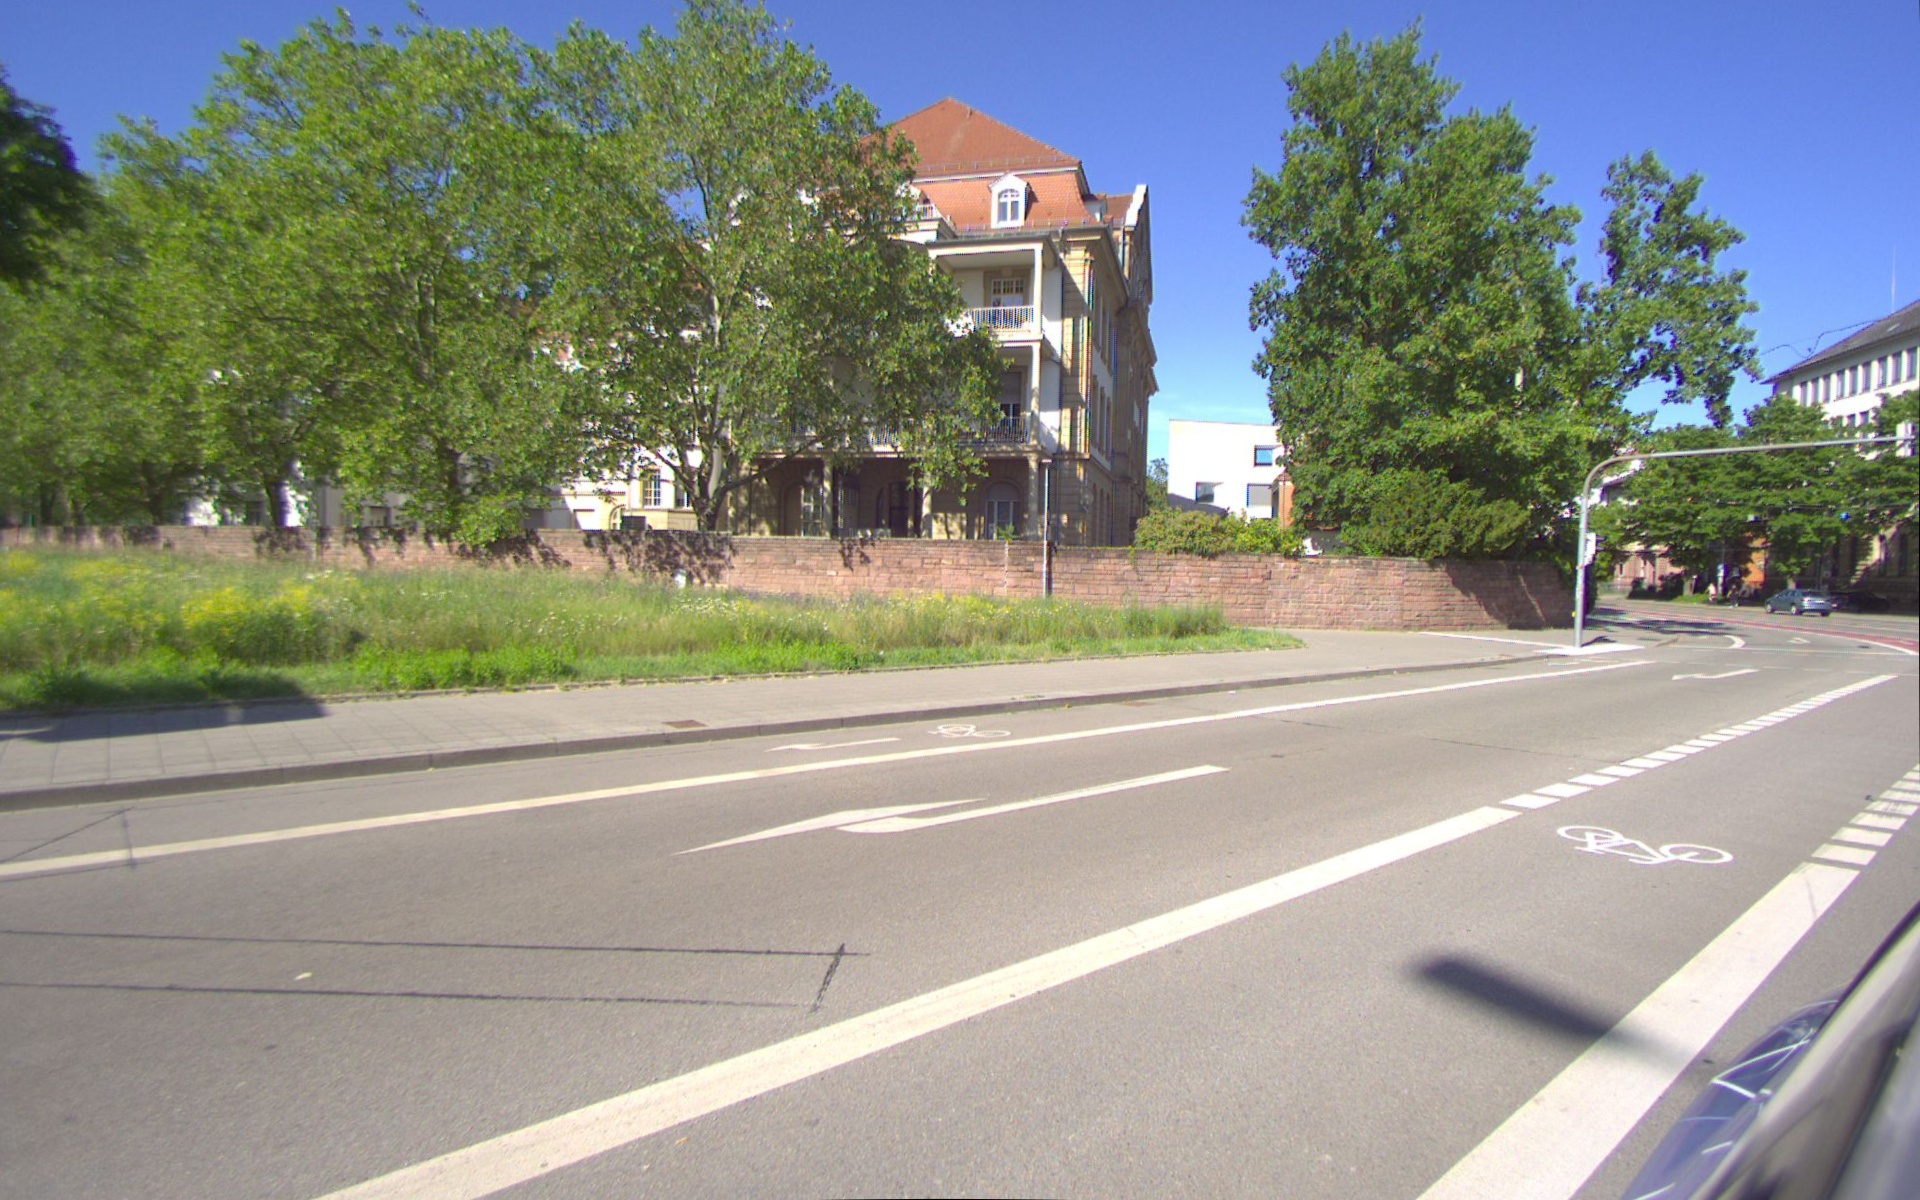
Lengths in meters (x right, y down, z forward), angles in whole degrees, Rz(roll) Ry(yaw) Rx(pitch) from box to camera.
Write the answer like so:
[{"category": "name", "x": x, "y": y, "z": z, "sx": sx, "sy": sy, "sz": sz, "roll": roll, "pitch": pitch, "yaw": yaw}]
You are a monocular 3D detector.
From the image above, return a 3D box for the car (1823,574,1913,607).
[{"category": "car", "x": 61.210, "y": -0.645, "z": 68.249, "sx": 4.615, "sy": 2.038, "sz": 2.004, "roll": 1, "pitch": 2, "yaw": -9}]

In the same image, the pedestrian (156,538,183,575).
[{"category": "pedestrian", "x": -31.883, "y": -1.757, "z": 40.814, "sx": 0.516, "sy": 1.461, "sz": 0.721, "roll": 0, "pitch": 0, "yaw": 20}]

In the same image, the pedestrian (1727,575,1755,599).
[{"category": "pedestrian", "x": 60.456, "y": -1.010, "z": 78.301, "sx": 1.366, "sy": 1.844, "sz": 0.937, "roll": 1, "pitch": 1, "yaw": 4}]

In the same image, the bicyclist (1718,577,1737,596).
[{"category": "bicyclist", "x": 58.753, "y": -1.056, "z": 77.501, "sx": 0.720, "sy": 1.402, "sz": 0.895, "roll": 1, "pitch": 2, "yaw": 3}]

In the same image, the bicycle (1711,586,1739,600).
[{"category": "bicycle", "x": 58.572, "y": -0.553, "z": 77.489, "sx": 0.720, "sy": 1.003, "sz": 1.834, "roll": 1, "pitch": 2, "yaw": 3}]

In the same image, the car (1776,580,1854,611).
[{"category": "car", "x": 51.147, "y": -0.303, "z": 60.660, "sx": 1.835, "sy": 1.561, "sz": 4.223, "roll": 3, "pitch": 3, "yaw": 14}]
